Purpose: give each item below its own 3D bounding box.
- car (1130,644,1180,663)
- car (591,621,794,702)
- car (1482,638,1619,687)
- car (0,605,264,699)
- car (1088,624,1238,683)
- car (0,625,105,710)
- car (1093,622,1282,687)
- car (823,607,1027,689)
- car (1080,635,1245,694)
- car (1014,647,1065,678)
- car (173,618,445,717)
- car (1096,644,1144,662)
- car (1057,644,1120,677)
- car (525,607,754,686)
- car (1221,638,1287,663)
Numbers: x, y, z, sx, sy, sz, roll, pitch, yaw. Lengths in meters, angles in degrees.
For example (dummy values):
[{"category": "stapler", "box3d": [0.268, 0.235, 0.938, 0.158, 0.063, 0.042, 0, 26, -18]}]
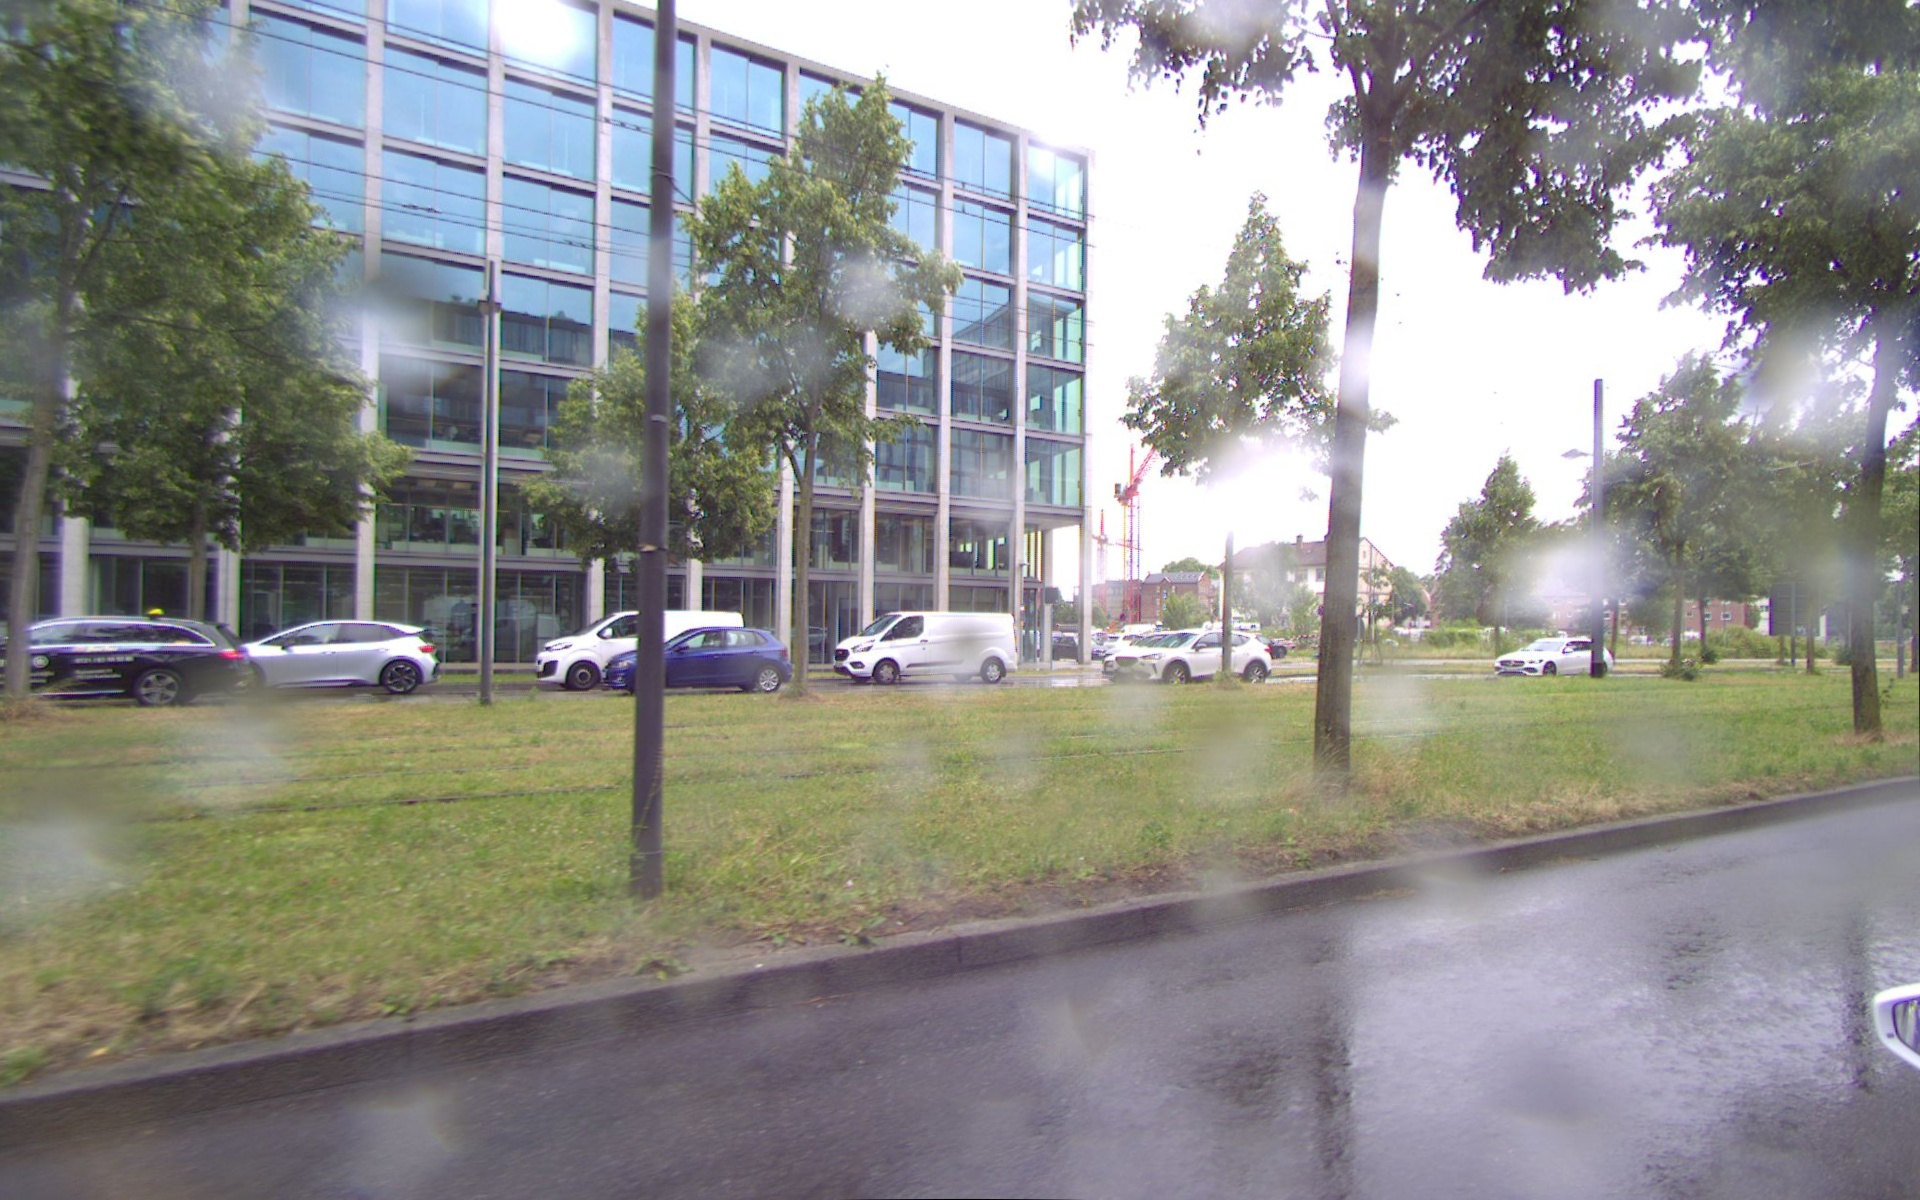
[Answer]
[{"category": "car", "box3d": [12.534, 3.413, 64.529, 2.978, 1.087, 1.285, -1, 0, -27]}, {"category": "car", "box3d": [-5.817, 1.271, 21.864, 3.915, 1.514, 1.942, -1, 0, -30]}, {"category": "car", "box3d": [21.134, 2.190, 35.911, 4.767, 1.480, 1.944, -1, 0, -27]}, {"category": "car", "box3d": [-14.391, 0.819, 16.632, 4.551, 1.404, 1.941, -1, 0, -31]}, {"category": "car", "box3d": [6.551, 1.698, 32.356, 4.517, 1.772, 1.944, 2, -1, -27]}, {"category": "car", "box3d": [-18.433, 1.242, 17.928, 4.574, 1.466, 1.848, -1, 0, -32]}, {"category": "car", "box3d": [5.715, 1.332, 25.091, 4.523, 1.471, 1.941, 2, -1, -31]}, {"category": "car", "box3d": [-0.946, 1.271, 28.275, 5.307, 2.033, 2.258, -1, 0, -29]}, {"category": "car", "box3d": [5.842, 1.808, 28.859, 4.523, 1.533, 1.941, 2, -1, -31]}, {"category": "car", "box3d": [4.842, 3.812, 61.990, 1.715, 1.630, 4.634, -1, 0, -15]}, {"category": "car", "box3d": [-13.444, 1.313, 21.053, 4.582, 1.769, 1.940, -1, 0, -32]}, {"category": "car", "box3d": [10.805, 3.558, 67.760, 2.978, 1.087, 1.285, -1, 0, -27]}, {"category": "car", "box3d": [7.162, 3.329, 56.170, 1.721, 1.630, 3.777, -1, 0, -26]}, {"category": "car", "box3d": [-7.734, 1.049, 24.408, 4.974, 1.674, 1.940, -1, 0, -32]}, {"category": "car", "box3d": [16.809, 2.889, 57.401, 3.612, 1.256, 1.495, -1, 0, -27]}]
